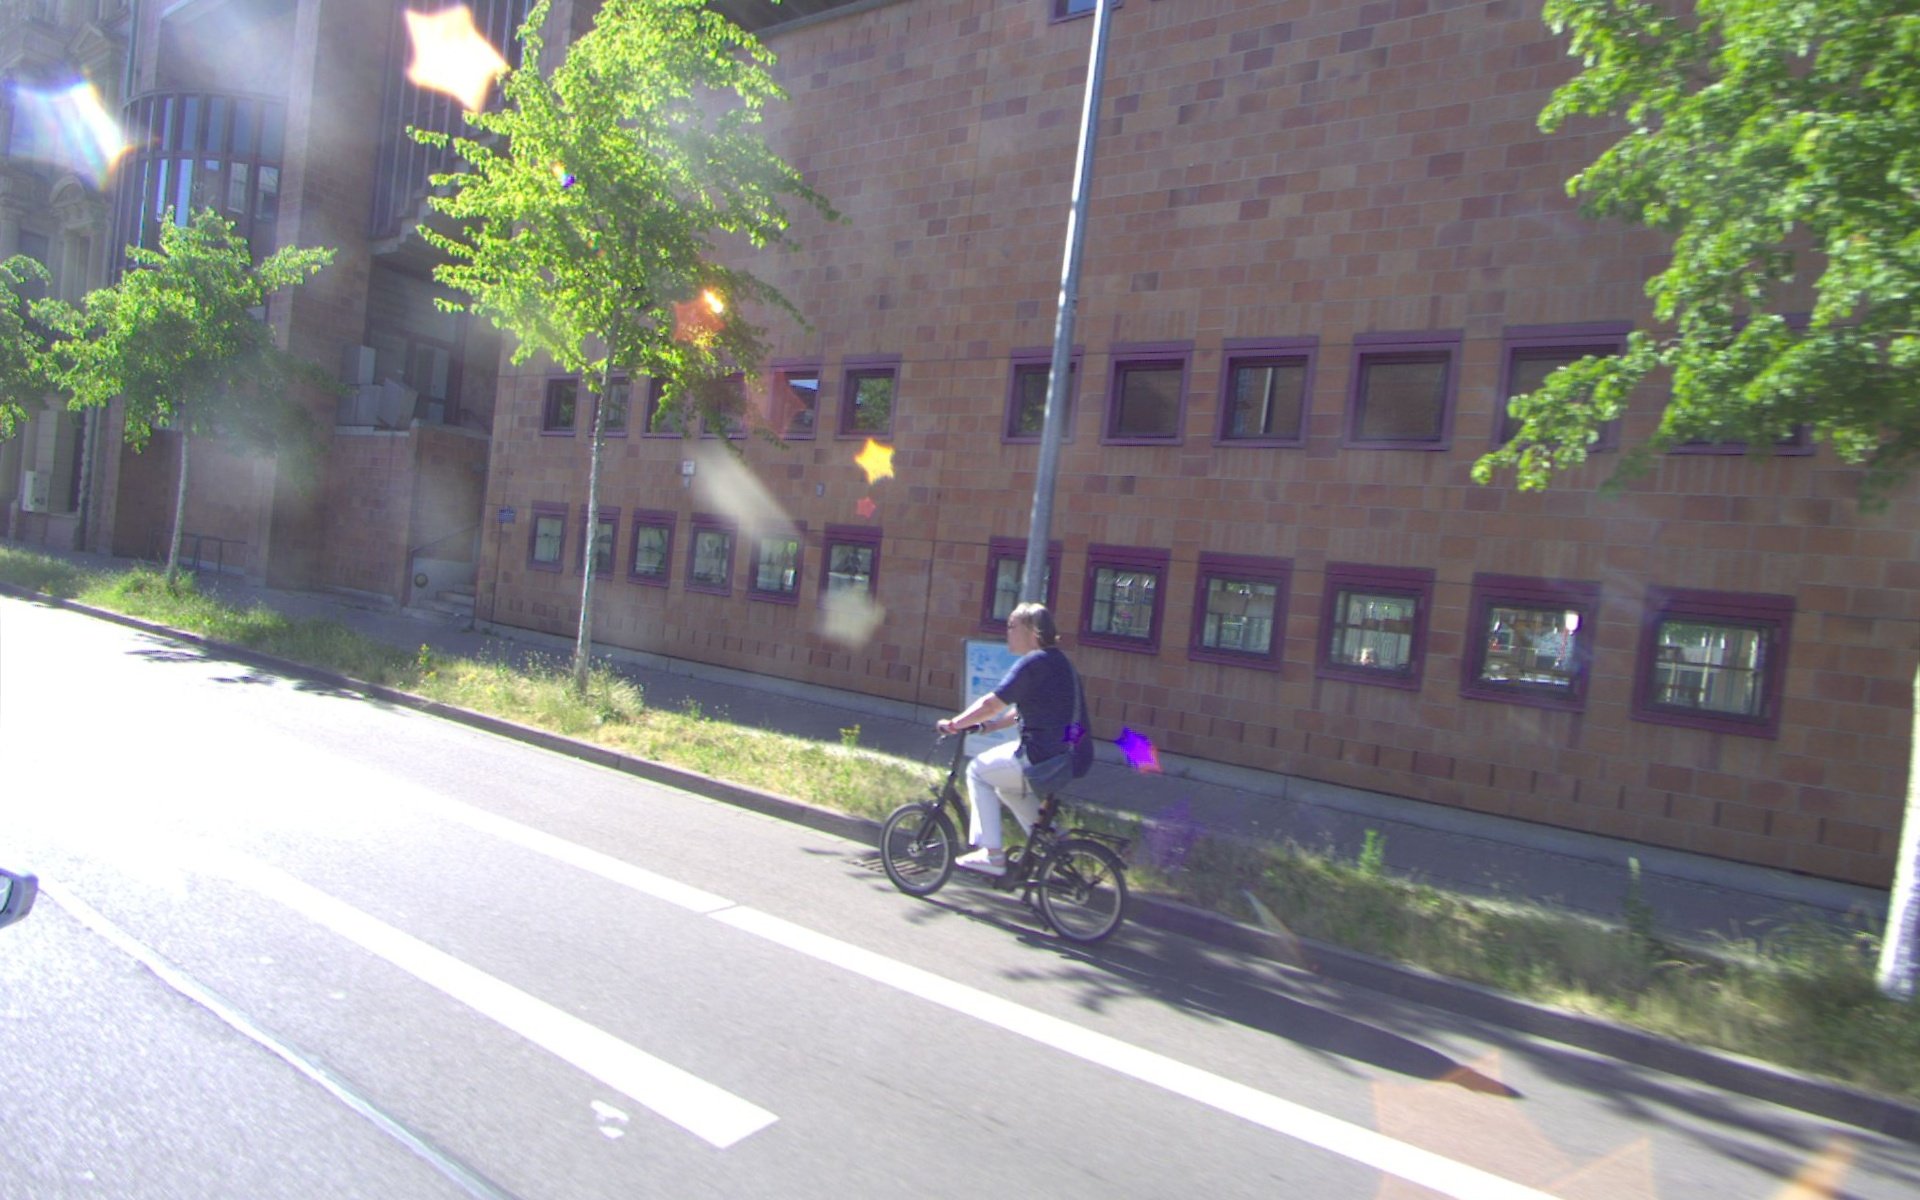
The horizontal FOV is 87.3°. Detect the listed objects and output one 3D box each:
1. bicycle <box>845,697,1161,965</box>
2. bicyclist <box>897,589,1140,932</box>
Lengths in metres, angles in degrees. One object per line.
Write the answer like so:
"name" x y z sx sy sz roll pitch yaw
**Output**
"bicycle" 0.206 1.148 5.344 1.482 1.039 0.558 7 -1 32
"bicyclist" 0.316 0.791 5.296 0.894 1.555 0.658 7 -1 32
